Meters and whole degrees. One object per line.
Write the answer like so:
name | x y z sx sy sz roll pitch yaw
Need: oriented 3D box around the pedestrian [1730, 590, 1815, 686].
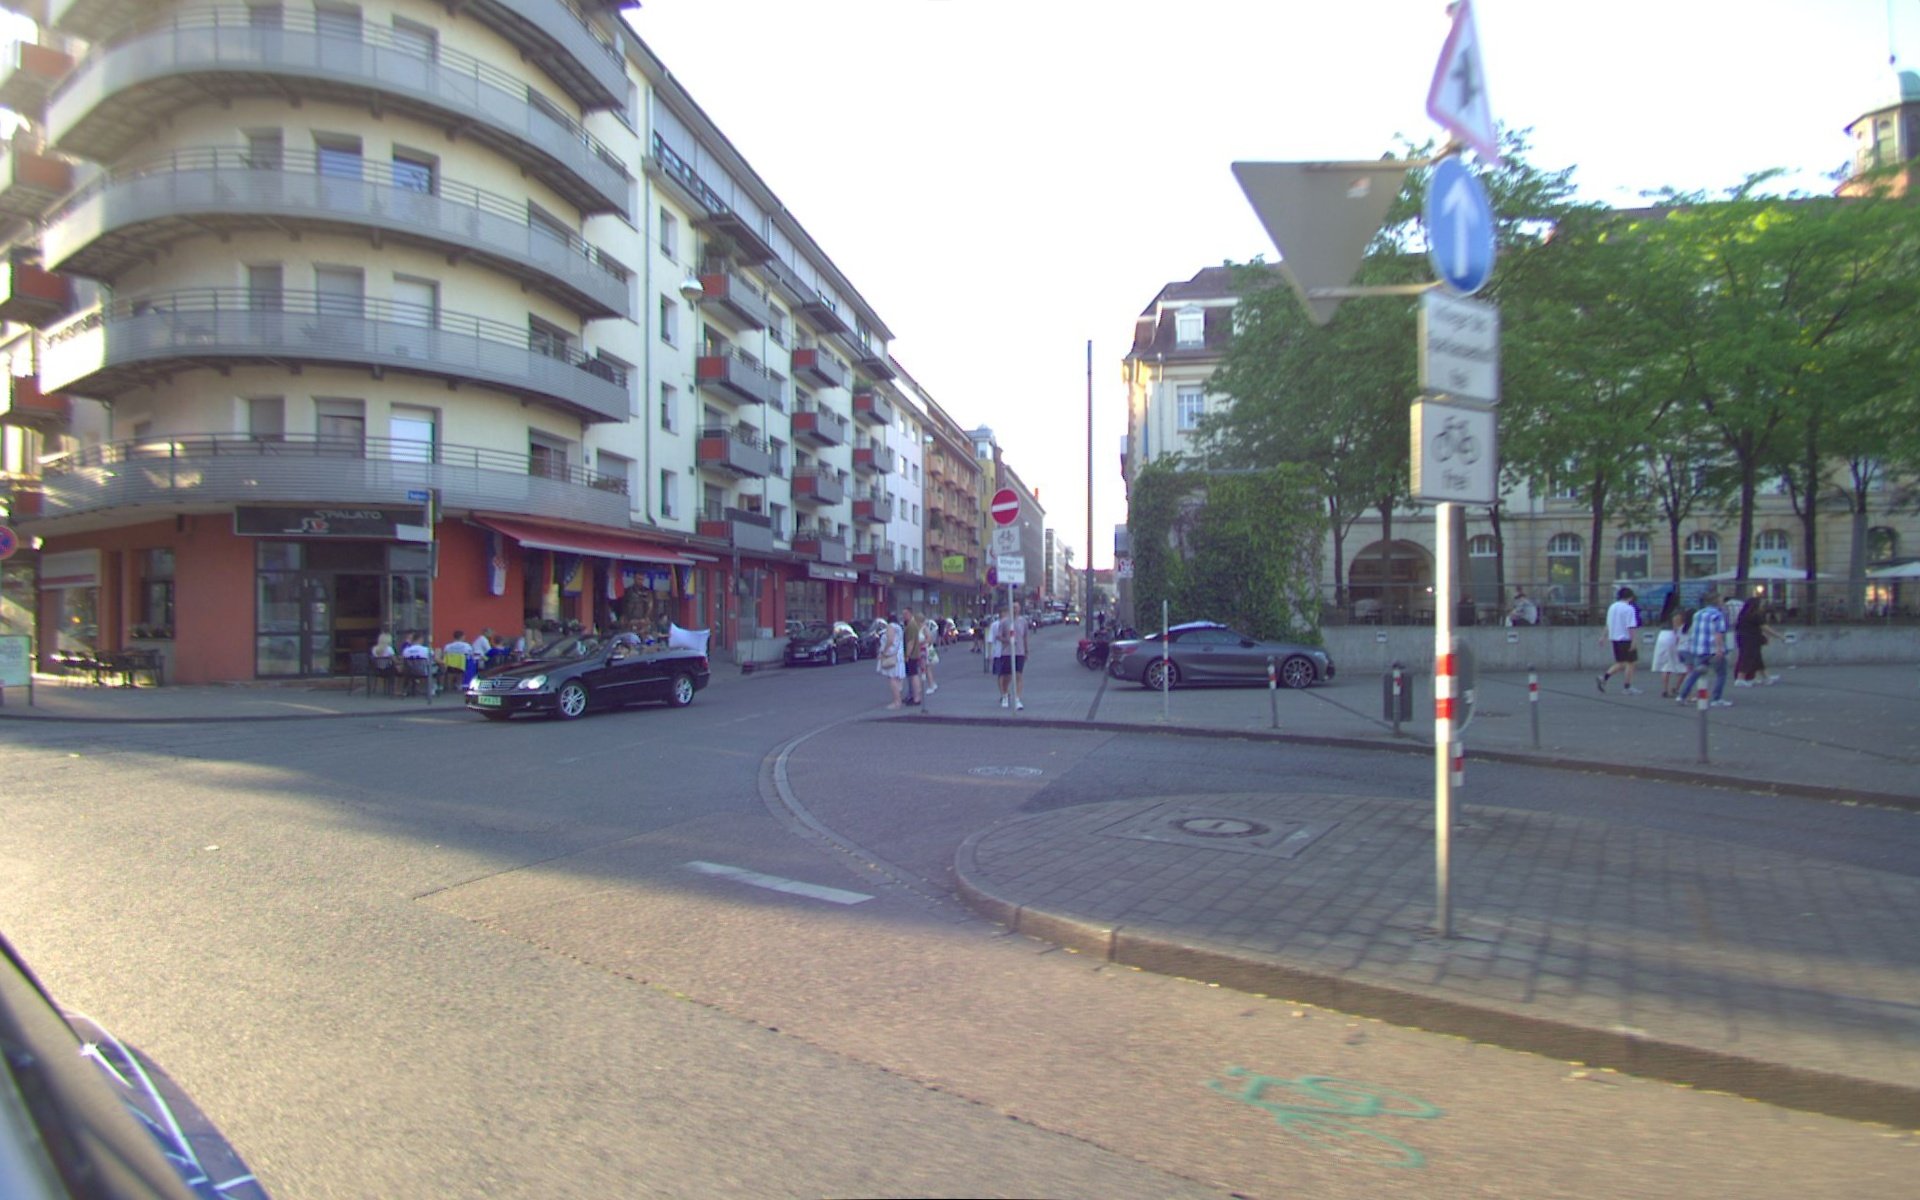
pedestrian | 14.087 0.658 17.560 0.719 1.594 0.799 -2 -2 -4

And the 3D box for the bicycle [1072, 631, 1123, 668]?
bicycle | 4.181 1.511 30.864 1.479 1.077 0.441 -2 -2 7

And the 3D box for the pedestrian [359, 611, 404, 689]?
pedestrian | -15.351 1.318 26.875 0.805 2.029 0.668 -1 -1 10

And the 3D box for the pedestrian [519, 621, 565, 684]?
pedestrian | -10.299 1.285 24.971 0.761 1.515 0.781 -1 -1 8

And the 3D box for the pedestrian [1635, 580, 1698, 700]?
pedestrian | 11.491 0.649 16.478 0.712 1.889 0.773 -3 -2 32

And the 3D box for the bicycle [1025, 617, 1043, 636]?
bicycle | 6.196 2.225 84.232 1.029 1.534 2.809 -1 -1 14

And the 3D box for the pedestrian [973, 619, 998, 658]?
pedestrian | 1.175 1.746 45.922 0.828 1.740 0.913 -1 -1 23

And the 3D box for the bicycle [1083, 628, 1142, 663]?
bicycle | 4.989 1.496 33.125 1.854 1.095 0.548 -2 -2 12

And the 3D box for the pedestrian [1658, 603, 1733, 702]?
pedestrian | 11.497 0.809 15.822 0.704 1.497 0.606 -1 -2 -21

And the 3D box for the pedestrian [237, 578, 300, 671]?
pedestrian | -15.533 0.541 22.742 0.810 2.029 0.855 -2 0 25

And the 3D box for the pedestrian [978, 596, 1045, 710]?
pedestrian | 0.907 0.904 17.545 0.975 1.898 0.886 -2 -2 12

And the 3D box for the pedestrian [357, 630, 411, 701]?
pedestrian | -11.042 1.239 19.427 0.674 1.291 0.971 0 1 -15

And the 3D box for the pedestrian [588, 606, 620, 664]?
pedestrian | -10.887 1.072 30.968 0.710 1.734 0.667 -1 -1 9

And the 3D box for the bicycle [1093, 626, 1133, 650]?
bicycle | 7.339 1.823 48.438 1.829 1.091 0.352 -2 -1 16

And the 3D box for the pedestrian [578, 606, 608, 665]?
pedestrian | -10.955 1.056 30.238 0.605 1.752 0.616 -1 -1 9

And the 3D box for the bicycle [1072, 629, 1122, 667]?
bicycle | 4.212 1.480 31.263 1.479 1.120 0.410 -2 -2 7

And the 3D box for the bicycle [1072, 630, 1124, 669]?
bicycle | 4.133 1.480 30.402 1.479 1.096 0.547 -2 -2 7

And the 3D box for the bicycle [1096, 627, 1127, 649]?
bicycle | 7.747 1.938 51.757 1.481 1.084 0.312 -2 -2 2

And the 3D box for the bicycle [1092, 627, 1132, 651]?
bicycle | 7.344 1.889 48.895 1.829 1.091 0.352 -2 -2 16

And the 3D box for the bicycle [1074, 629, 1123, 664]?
bicycle | 4.486 1.501 32.698 1.485 1.096 0.434 -2 -2 17

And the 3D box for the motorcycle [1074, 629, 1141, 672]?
motorcycle | 4.186 1.422 28.640 1.797 1.135 0.539 -1 -2 -21

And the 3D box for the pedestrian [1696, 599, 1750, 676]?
pedestrian | 17.469 0.849 23.190 0.616 1.740 0.801 -1 -1 9

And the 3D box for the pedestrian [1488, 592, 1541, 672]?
pedestrian | 13.050 0.749 23.833 0.695 1.833 1.120 -1 -1 8

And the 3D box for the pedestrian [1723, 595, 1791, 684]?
pedestrian | 14.338 0.698 18.212 0.583 1.554 0.681 -1 -2 -11

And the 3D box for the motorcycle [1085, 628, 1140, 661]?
motorcycle | 5.203 1.531 34.585 1.827 1.077 0.526 -3 -2 39

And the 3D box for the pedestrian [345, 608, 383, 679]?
pedestrian | -15.339 1.112 26.047 0.605 1.790 0.616 -1 -1 8

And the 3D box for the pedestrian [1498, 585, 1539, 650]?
pedestrian | 17.758 0.565 32.204 0.825 2.029 1.061 -1 -1 13

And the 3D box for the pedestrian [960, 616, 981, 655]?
pedestrian | 0.489 1.623 46.615 0.909 1.740 0.702 -1 -1 5

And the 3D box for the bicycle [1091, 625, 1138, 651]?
bicycle | 7.341 1.797 48.065 2.163 1.165 0.443 -2 -2 16

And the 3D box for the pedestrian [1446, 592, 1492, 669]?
pedestrian | 12.072 0.715 24.042 0.754 1.795 0.795 -1 -1 12

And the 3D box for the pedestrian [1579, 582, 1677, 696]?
pedestrian | 11.403 0.662 17.304 0.875 1.867 0.987 -1 -2 -10

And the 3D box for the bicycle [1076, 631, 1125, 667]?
bicycle | 4.410 1.543 31.858 1.479 1.096 0.410 -2 -2 7
